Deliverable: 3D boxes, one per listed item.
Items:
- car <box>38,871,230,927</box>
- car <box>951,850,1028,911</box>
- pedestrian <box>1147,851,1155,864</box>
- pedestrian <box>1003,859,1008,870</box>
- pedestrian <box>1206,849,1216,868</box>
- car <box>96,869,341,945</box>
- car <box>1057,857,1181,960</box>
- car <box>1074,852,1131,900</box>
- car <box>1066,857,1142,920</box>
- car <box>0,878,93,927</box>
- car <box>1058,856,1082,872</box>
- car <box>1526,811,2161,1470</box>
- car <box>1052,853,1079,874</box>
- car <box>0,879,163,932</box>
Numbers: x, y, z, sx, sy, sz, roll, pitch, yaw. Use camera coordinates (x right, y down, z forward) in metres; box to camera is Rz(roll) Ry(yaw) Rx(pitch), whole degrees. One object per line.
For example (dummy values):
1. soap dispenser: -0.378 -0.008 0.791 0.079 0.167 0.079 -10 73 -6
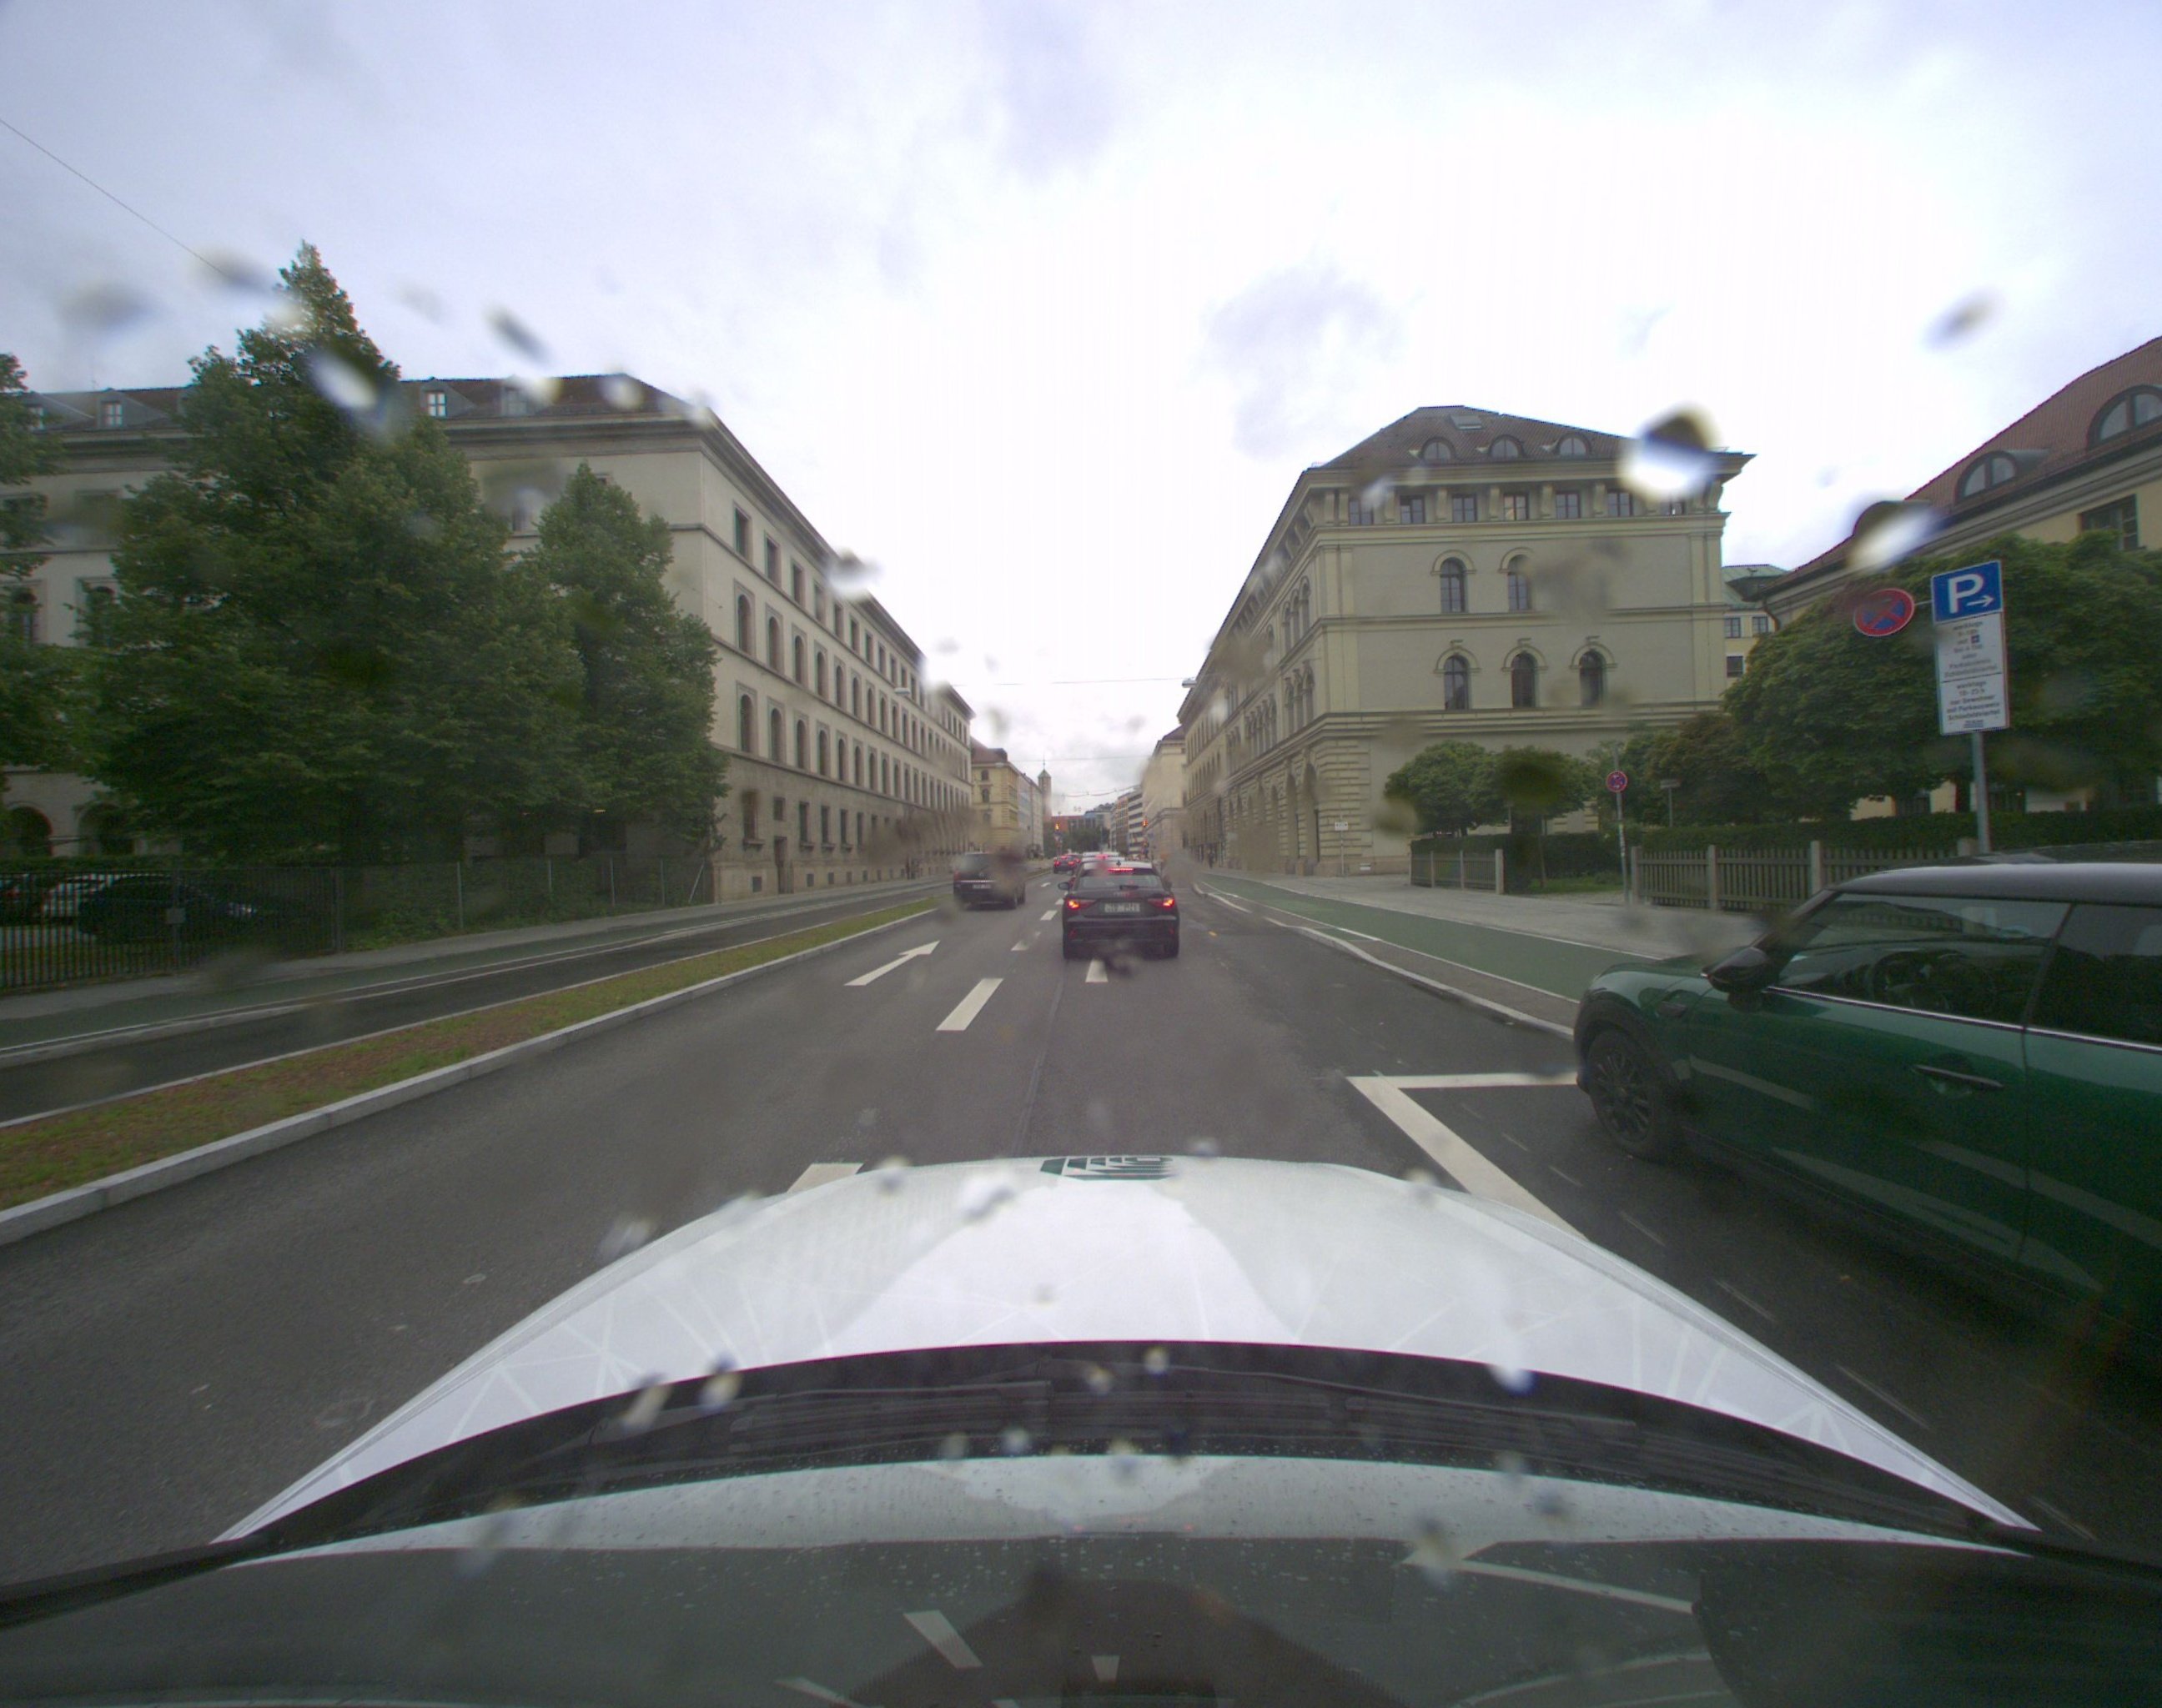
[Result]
1. car: -31.495 1.445 27.274 1.659 1.640 4.001 -1 0 2
2. car: -2.601 0.707 23.991 1.759 1.616 4.029 -1 0 0
3. pedestrian: 8.937 0.478 104.579 0.714 1.618 0.747 -2 0 -28
4. pedestrian: -12.204 1.683 131.407 0.653 1.805 0.727 -2 0 1
5. pedestrian: 11.598 0.396 72.728 0.707 1.618 0.754 -2 0 1
6. car: -21.664 1.290 20.571 4.247 1.649 1.805 -2 0 1
7. car: 0.582 0.774 13.382 1.724 1.403 4.001 0 0 1
8. car: 0.707 0.677 26.883 1.724 1.461 4.001 0 0 1
9. car: 0.576 0.787 20.449 1.724 1.403 4.001 0 0 1
10. car: -36.500 1.651 27.301 1.764 1.544 4.001 -2 0 1
11. car: -0.980 0.920 76.273 1.986 1.444 4.002 -2 0 2
12. car: 3.370 0.651 2.857 1.668 1.521 3.832 -1 0 3
13. car: -1.224 0.750 67.526 1.986 1.627 4.002 -2 0 2
14. car: -34.028 1.682 27.363 1.764 1.544 4.001 -2 0 1
